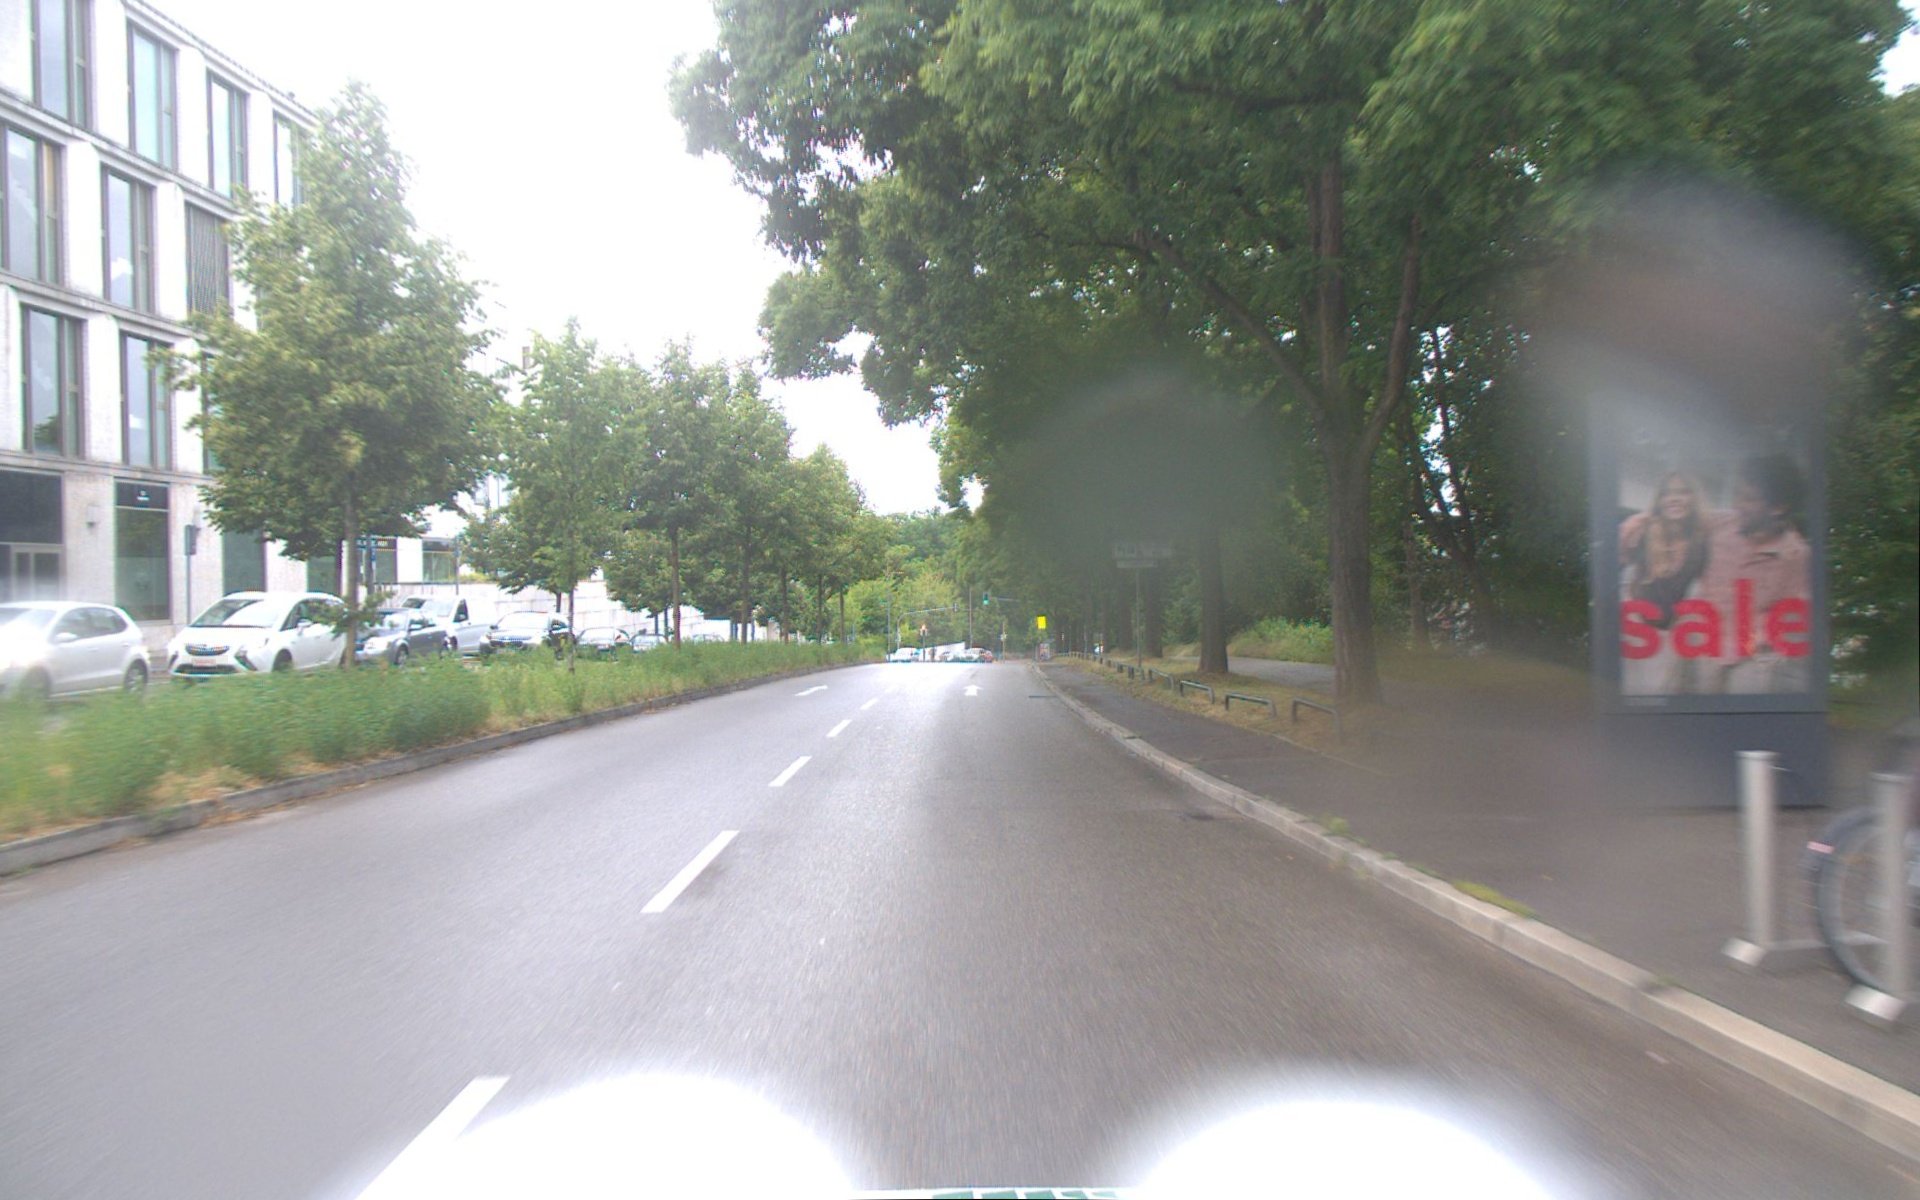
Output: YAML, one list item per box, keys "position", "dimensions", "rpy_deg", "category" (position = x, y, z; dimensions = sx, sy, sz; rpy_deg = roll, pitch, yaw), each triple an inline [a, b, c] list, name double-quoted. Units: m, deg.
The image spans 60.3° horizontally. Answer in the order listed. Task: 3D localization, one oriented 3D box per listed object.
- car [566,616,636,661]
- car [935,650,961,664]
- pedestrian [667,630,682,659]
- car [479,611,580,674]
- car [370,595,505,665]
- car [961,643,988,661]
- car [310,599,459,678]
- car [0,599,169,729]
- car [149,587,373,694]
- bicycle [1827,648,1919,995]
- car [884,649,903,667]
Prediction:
- position: [-13.782, 1.454, 63.665]
  dimensions: [1.659, 1.609, 4.019]
  rpy_deg: [0, 0, 2]
  category: "car"
- position: [-1.322, 6.172, 180.050]
  dimensions: [1.733, 1.405, 4.192]
  rpy_deg: [-3, -3, 15]
  category: "car"
- position: [-17.902, 2.798, 103.772]
  dimensions: [0.693, 1.806, 1.021]
  rpy_deg: [-1, -2, 1]
  category: "pedestrian"
- position: [-11.719, 1.126, 45.253]
  dimensions: [1.660, 1.609, 4.018]
  rpy_deg: [0, 0, 1]
  category: "car"
- position: [-14.545, 0.845, 46.409]
  dimensions: [2.078, 1.848, 5.260]
  rpy_deg: [0, -1, 0]
  category: "car"
- position: [1.716, 5.933, 190.598]
  dimensions: [1.880, 1.889, 4.509]
  rpy_deg: [-5, -2, 14]
  category: "car"
- position: [-12.128, 0.769, 35.128]
  dimensions: [1.607, 1.435, 3.998]
  rpy_deg: [-1, 1, 2]
  category: "car"
- position: [-12.539, 0.804, 22.227]
  dimensions: [1.707, 1.493, 4.062]
  rpy_deg: [-1, 1, 2]
  category: "car"
- position: [-12.211, 0.639, 29.257]
  dimensions: [1.791, 1.628, 4.676]
  rpy_deg: [-1, 1, 2]
  category: "car"
- position: [3.940, 0.724, 5.812]
  dimensions: [1.456, 1.151, 0.556]
  rpy_deg: [-3, -1, -5]
  category: "bicycle"
- position: [-6.642, 5.801, 166.209]
  dimensions: [1.675, 1.777, 4.337]
  rpy_deg: [-1, -2, 1]
  category: "car"
